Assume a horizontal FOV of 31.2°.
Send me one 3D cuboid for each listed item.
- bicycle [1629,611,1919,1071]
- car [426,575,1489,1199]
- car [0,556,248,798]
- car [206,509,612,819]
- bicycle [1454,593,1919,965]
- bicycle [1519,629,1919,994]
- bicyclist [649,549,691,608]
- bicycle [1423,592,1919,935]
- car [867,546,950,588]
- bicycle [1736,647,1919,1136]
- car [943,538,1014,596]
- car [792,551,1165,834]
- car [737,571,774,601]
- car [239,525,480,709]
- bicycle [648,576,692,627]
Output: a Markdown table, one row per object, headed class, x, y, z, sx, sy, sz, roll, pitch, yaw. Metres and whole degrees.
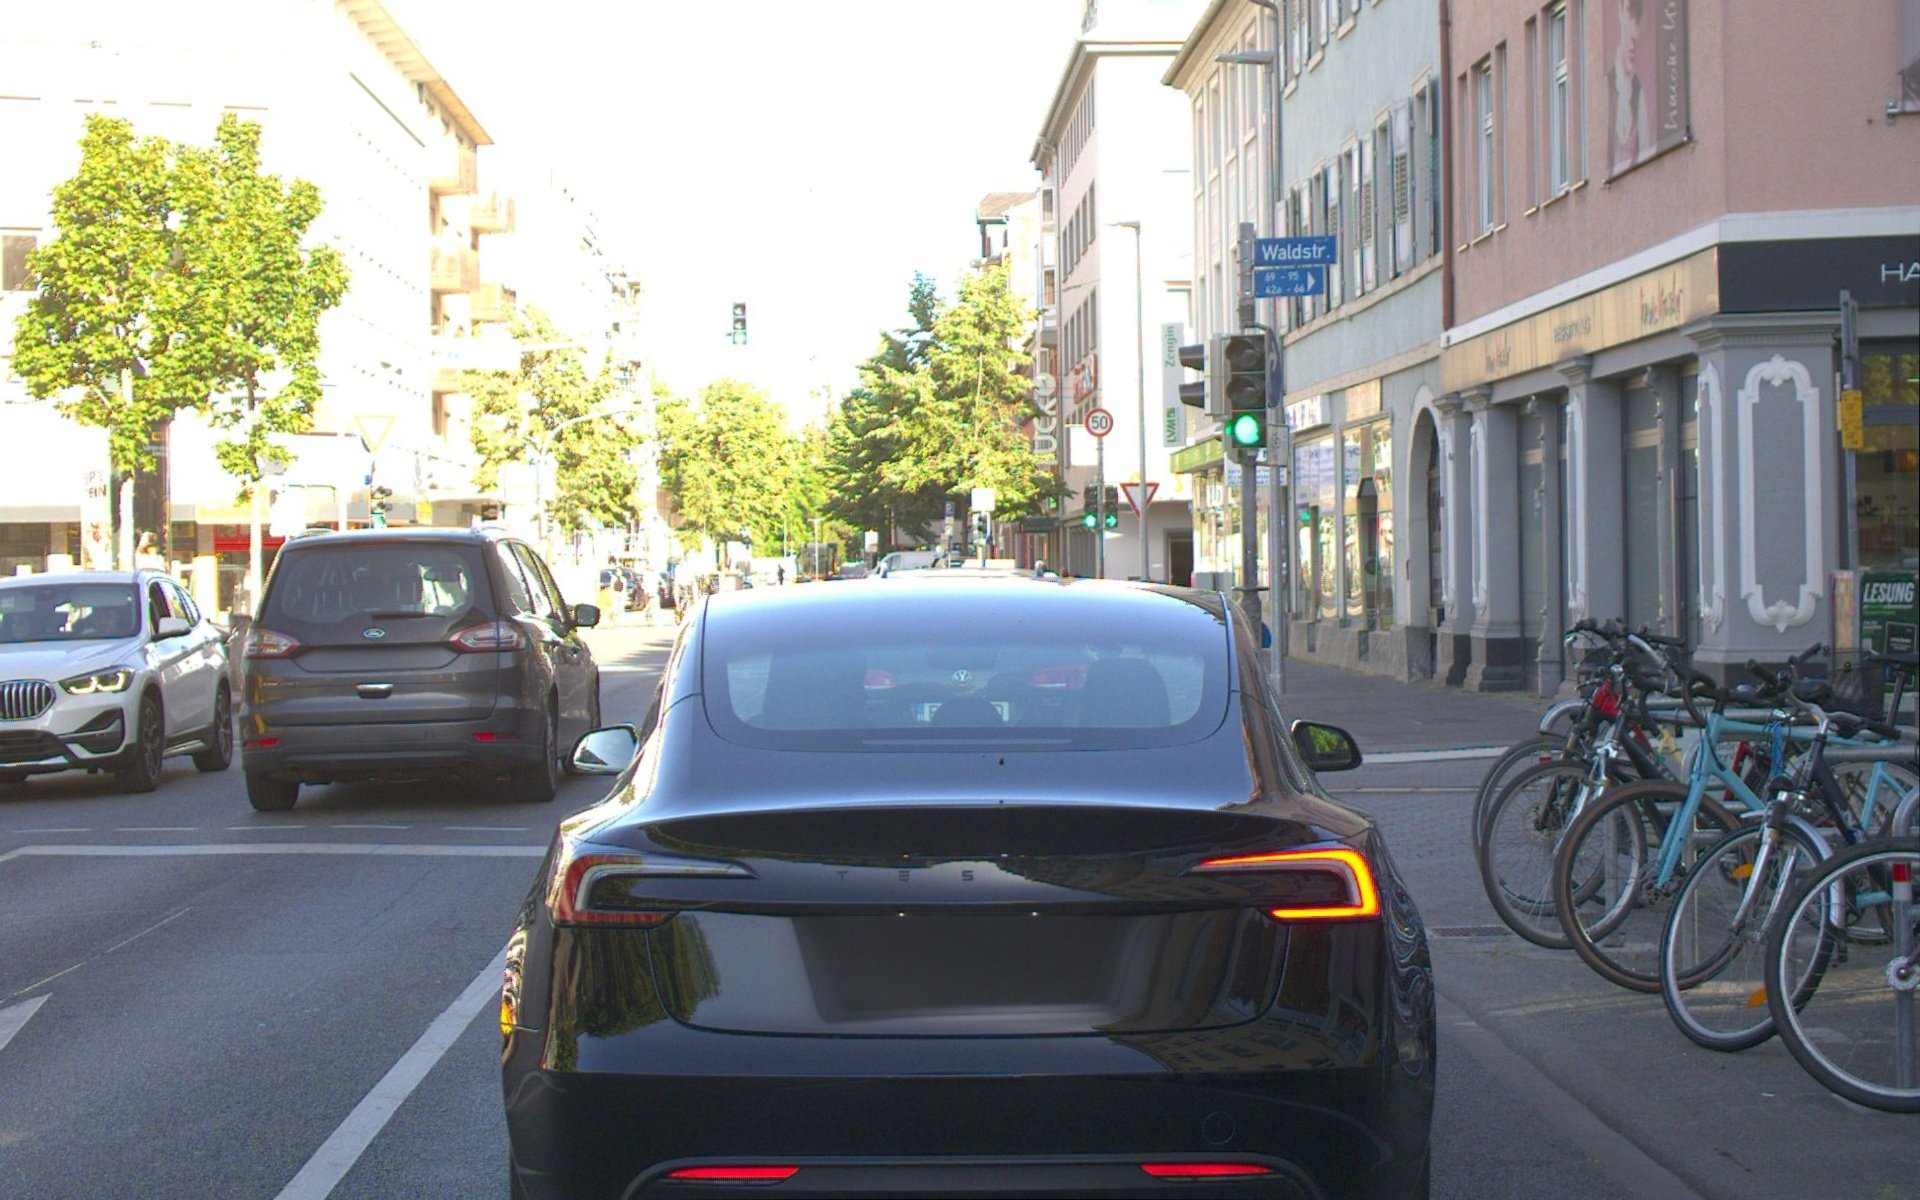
| class | x | y | z | sx | sy | sz | roll | pitch | yaw |
| --- | --- | --- | --- | --- | --- | --- | --- | --- | --- |
| bicycle | 2.886 | 0.671 | 10.038 | 1.722 | 1.263 | 0.790 | -2 | 0 | 5 |
| car | -0.026 | 0.673 | 7.991 | 1.848 | 1.450 | 4.000 | 0 | 0 | -1 |
| car | -6.528 | 0.516 | 25.058 | 1.807 | 1.550 | 4.310 | -4 | 1 | -2 |
| car | -3.433 | 0.336 | 22.298 | 1.993 | 1.766 | 4.729 | -1 | 1 | -2 |
| bicycle | 2.739 | 0.636 | 12.568 | 1.746 | 1.262 | 0.781 | -2 | 0 | 3 |
| bicycle | 2.805 | 0.678 | 11.389 | 1.798 | 1.120 | 0.781 | -2 | 0 | 5 |
| bicyclist | -7.967 | -0.594 | 94.529 | 1.126 | 1.623 | 0.965 | 0 | 1 | -3 |
| bicycle | 2.807 | 0.631 | 13.598 | 1.862 | 1.253 | 0.832 | -2 | 0 | 5 |
| car | -2.521 | -1.603 | 166.475 | 3.986 | 2.007 | 2.000 | 0 | 1 | -2 |
| bicycle | 3.033 | 0.717 | 8.906 | 1.886 | 1.189 | 0.691 | -2 | 1 | 5 |
| car | 0.510 | -0.962 | 99.737 | 1.993 | 1.623 | 4.000 | 0 | 1 | -1 |
| car | 0.029 | 0.466 | 20.434 | 1.993 | 1.507 | 4.175 | 0 | 1 | -2 |
| car | -11.055 | -0.763 | 185.988 | 1.993 | 1.631 | 4.001 | 0 | 1 | -3 |
| car | -6.691 | 0.142 | 38.793 | 1.834 | 1.838 | 4.674 | -4 | 1 | -1 |
| bicycle | -7.949 | 0.021 | 94.444 | 1.111 | 1.340 | 4.001 | 0 | 1 | -3 |
